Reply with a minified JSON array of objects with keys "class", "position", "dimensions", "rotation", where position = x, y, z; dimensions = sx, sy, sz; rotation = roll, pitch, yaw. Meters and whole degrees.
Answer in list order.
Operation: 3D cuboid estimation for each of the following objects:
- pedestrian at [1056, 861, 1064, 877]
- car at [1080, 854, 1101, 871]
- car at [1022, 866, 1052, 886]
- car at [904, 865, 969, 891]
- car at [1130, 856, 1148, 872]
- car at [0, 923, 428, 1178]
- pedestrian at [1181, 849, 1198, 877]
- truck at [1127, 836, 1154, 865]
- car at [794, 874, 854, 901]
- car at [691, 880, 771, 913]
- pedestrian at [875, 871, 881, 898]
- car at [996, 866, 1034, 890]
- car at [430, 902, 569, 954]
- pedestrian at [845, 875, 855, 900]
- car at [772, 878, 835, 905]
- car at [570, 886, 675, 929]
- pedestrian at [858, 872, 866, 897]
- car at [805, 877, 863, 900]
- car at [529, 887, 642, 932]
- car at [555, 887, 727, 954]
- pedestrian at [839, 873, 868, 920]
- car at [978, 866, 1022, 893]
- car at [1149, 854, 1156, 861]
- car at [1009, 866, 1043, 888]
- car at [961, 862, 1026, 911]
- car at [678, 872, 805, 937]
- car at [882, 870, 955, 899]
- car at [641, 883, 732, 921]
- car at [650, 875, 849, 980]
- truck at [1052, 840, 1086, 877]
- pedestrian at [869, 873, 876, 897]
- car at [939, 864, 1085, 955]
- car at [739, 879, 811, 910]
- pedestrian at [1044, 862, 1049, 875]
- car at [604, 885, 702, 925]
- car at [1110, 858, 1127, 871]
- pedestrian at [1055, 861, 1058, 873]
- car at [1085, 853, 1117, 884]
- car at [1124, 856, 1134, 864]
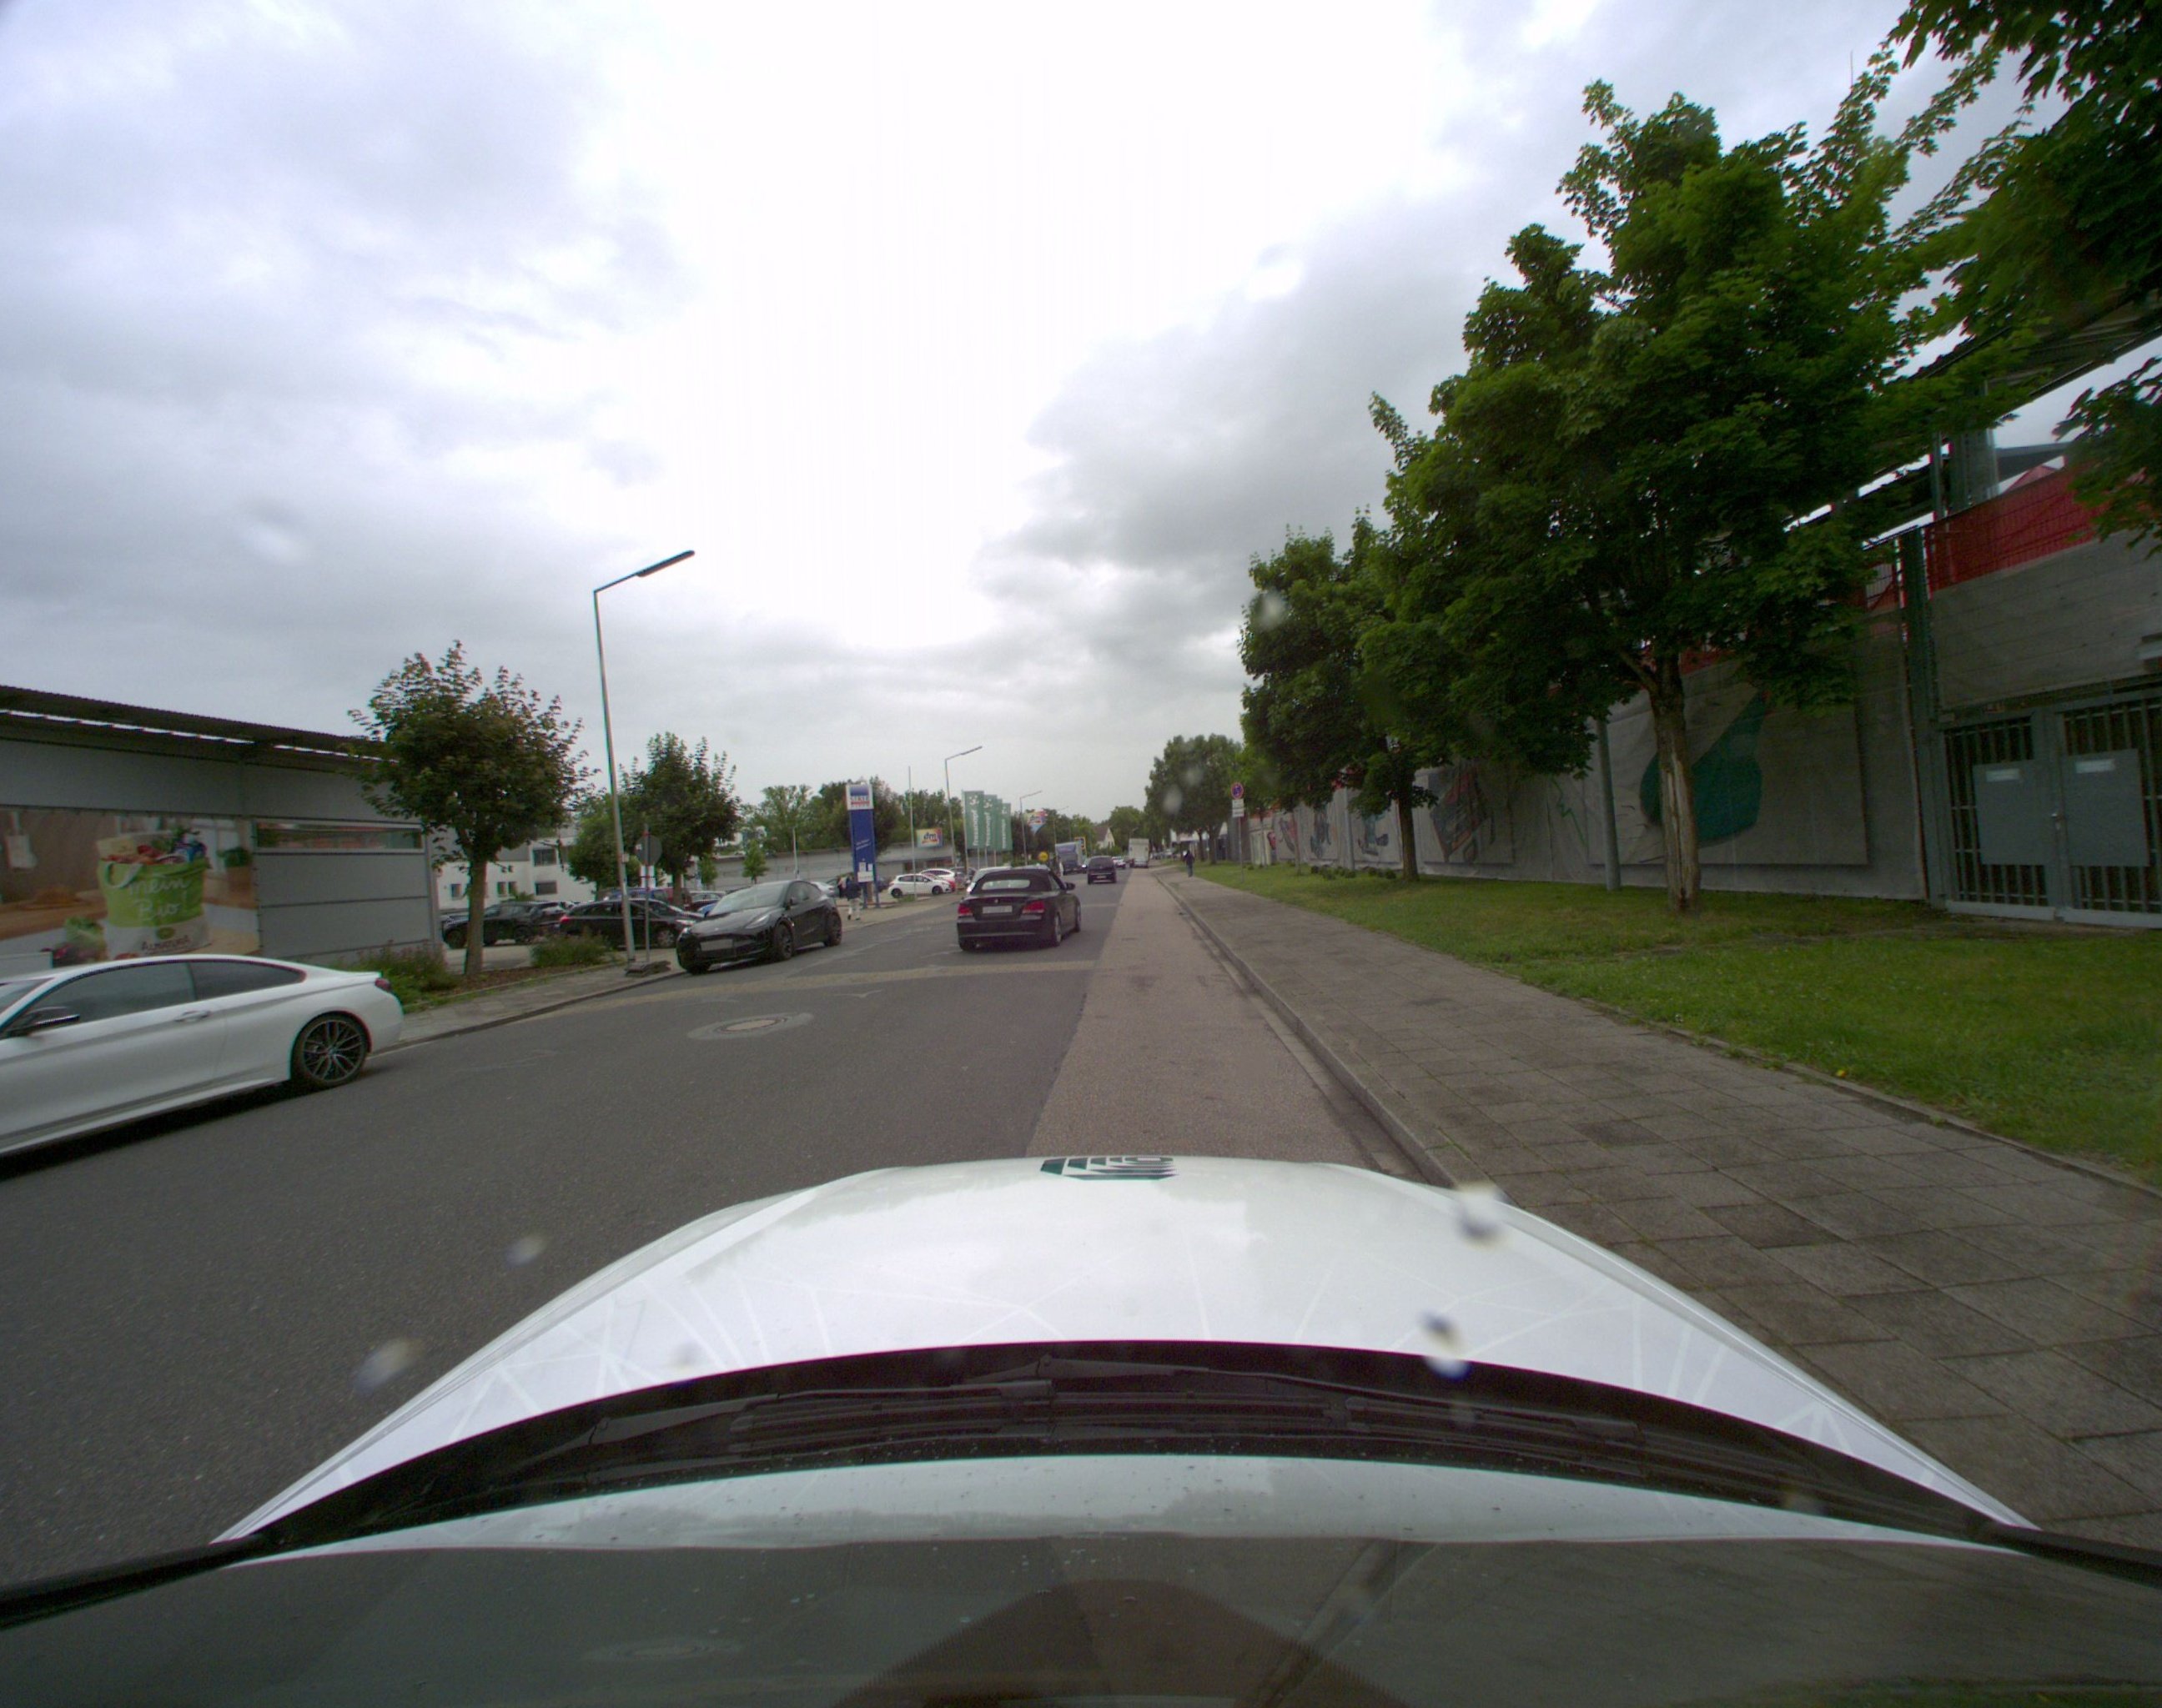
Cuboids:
[{"class":"pedestrian","position":[-2.176,1.563,83.993],"dimensions":[0.628,1.636,0.668],"rotation":[-5,-1,3]},{"class":"car","position":[1.064,0.960,88.502],"dimensions":[1.985,1.684,4.003],"rotation":[-3,-1,3]},{"class":"car","position":[-3.568,1.788,67.401],"dimensions":[1.889,1.367,4.004],"rotation":[-4,-1,4]},{"class":"car","position":[-10.059,1.680,56.963],"dimensions":[4.124,1.463,1.897],"rotation":[-5,-1,-2]},{"class":"car","position":[7.096,1.230,99.665],"dimensions":[1.985,1.806,4.003],"rotation":[-3,-1,3]},{"class":"car","position":[-7.672,1.502,6.003],"dimensions":[1.692,1.367,4.522],"rotation":[-9,-1,3]},{"class":"pedestrian","position":[6.491,0.531,48.868],"dimensions":[0.914,1.635,0.854],"rotation":[-3,-1,6]},{"class":"truck","position":[7.901,-0.368,108.926],"dimensions":[3.122,3.585,10.057],"rotation":[-3,-1,3]},{"class":"car","position":[-20.143,2.619,63.909],"dimensions":[3.969,1.669,1.878],"rotation":[-5,-1,4]},{"class":"car","position":[-21.497,2.586,50.051],"dimensions":[3.969,1.669,1.878],"rotation":[-4,-1,4]},{"class":"pedestrian","position":[-13.398,2.001,53.745],"dimensions":[0.262,1.730,0.421],"rotation":[-4,-1,-8]},{"class":"car","position":[-4.482,1.632,55.889],"dimensions":[1.889,1.367,4.004],"rotation":[-4,-1,4]},{"class":"car","position":[-22.256,2.787,31.357],"dimensions":[4.009,1.485,1.860],"rotation":[-4,0,-27]},{"class":"pedestrian","position":[-15.283,2.231,53.873],"dimensions":[0.456,1.642,0.372],"rotation":[-4,-1,-14]},{"class":"car","position":[-20.956,2.816,61.516],"dimensions":[3.969,1.669,1.878],"rotation":[-5,-1,4]},{"class":"car","position":[-22.443,2.604,39.981],"dimensions":[3.969,1.669,1.878],"rotation":[-5,-1,4]},{"class":"pedestrian","position":[-14.546,2.019,54.034],"dimensions":[0.358,1.570,0.503],"rotation":[-4,-1,-7]},{"class":"car","position":[-20.053,2.772,66.242],"dimensions":[3.969,1.492,1.788],"rotation":[-5,-1,4]},{"class":"car","position":[-22.816,2.530,37.582],"dimensions":[3.969,1.669,1.878],"rotation":[-5,-1,4]},{"class":"car","position":[-12.633,1.886,23.553],"dimensions":[3.856,1.620,1.930],"rotation":[-3,-1,4]},{"class":"pedestrian","position":[-8.665,1.593,31.038],"dimensions":[0.773,1.715,0.697],"rotation":[-4,-1,-1]},{"class":"car","position":[-4.904,1.519,49.667],"dimensions":[1.889,1.367,4.004],"rotation":[-5,-1,4]},{"class":"car","position":[18.609,0.962,211.669],"dimensions":[1.878,1.683,4.259],"rotation":[-2,0,5]},{"class":"car","position":[-4.088,1.716,61.472],"dimensions":[1.889,1.367,4.004],"rotation":[-4,-1,4]},{"class":"car","position":[-3.115,1.136,29.708],"dimensions":[1.591,1.528,3.532],"rotation":[-6,-1,4]},{"class":"car","position":[-12.810,1.877,30.903],"dimensions":[3.921,2.013,1.759],"rotation":[-5,-1,-3]},{"class":"car","position":[-10.321,1.906,52.002],"dimensions":[4.195,1.463,1.950],"rotation":[-5,-1,-4]},{"class":"car","position":[-21.696,2.643,44.825],"dimensions":[3.969,1.669,1.878],"rotation":[-5,-1,4]},{"class":"car","position":[-6.577,1.371,16.811],"dimensions":[1.939,1.526,4.405],"rotation":[-9,-1,2]},{"class":"truck","position":[-1.375,0.514,94.850],"dimensions":[2.960,3.955,6.412],"rotation":[-6,-1,4]},{"class":"pedestrian","position":[-13.733,2.026,53.640],"dimensions":[0.329,1.570,0.502],"rotation":[-3,-1,-8]},{"class":"car","position":[-1.119,0.930,15.299],"dimensions":[1.735,1.358,4.147],"rotation":[-4,-1,8]},{"class":"car","position":[-20.672,2.706,55.099],"dimensions":[3.969,1.669,1.878],"rotation":[-5,-1,4]},{"class":"pedestrian","position":[-4.195,1.749,98.740],"dimensions":[0.400,1.531,0.485],"rotation":[-5,-1,-2]},{"class":"car","position":[-22.299,2.638,42.515],"dimensions":[3.969,1.669,1.878],"rotation":[-5,-1,4]},{"class":"car","position":[4.468,1.227,96.512],"dimensions":[1.878,1.532,4.259],"rotation":[-2,0,5]},{"class":"pedestrian","position":[-3.312,1.733,110.042],"dimensions":[0.400,1.531,0.485],"rotation":[-5,-1,-2]},{"class":"car","position":[1.234,0.839,48.647],"dimensions":[1.674,1.632,3.761],"rotation":[-5,-1,2]},{"class":"car","position":[9.453,1.216,159.311],"dimensions":[1.878,1.532,4.259],"rotation":[-2,0,5]}]
